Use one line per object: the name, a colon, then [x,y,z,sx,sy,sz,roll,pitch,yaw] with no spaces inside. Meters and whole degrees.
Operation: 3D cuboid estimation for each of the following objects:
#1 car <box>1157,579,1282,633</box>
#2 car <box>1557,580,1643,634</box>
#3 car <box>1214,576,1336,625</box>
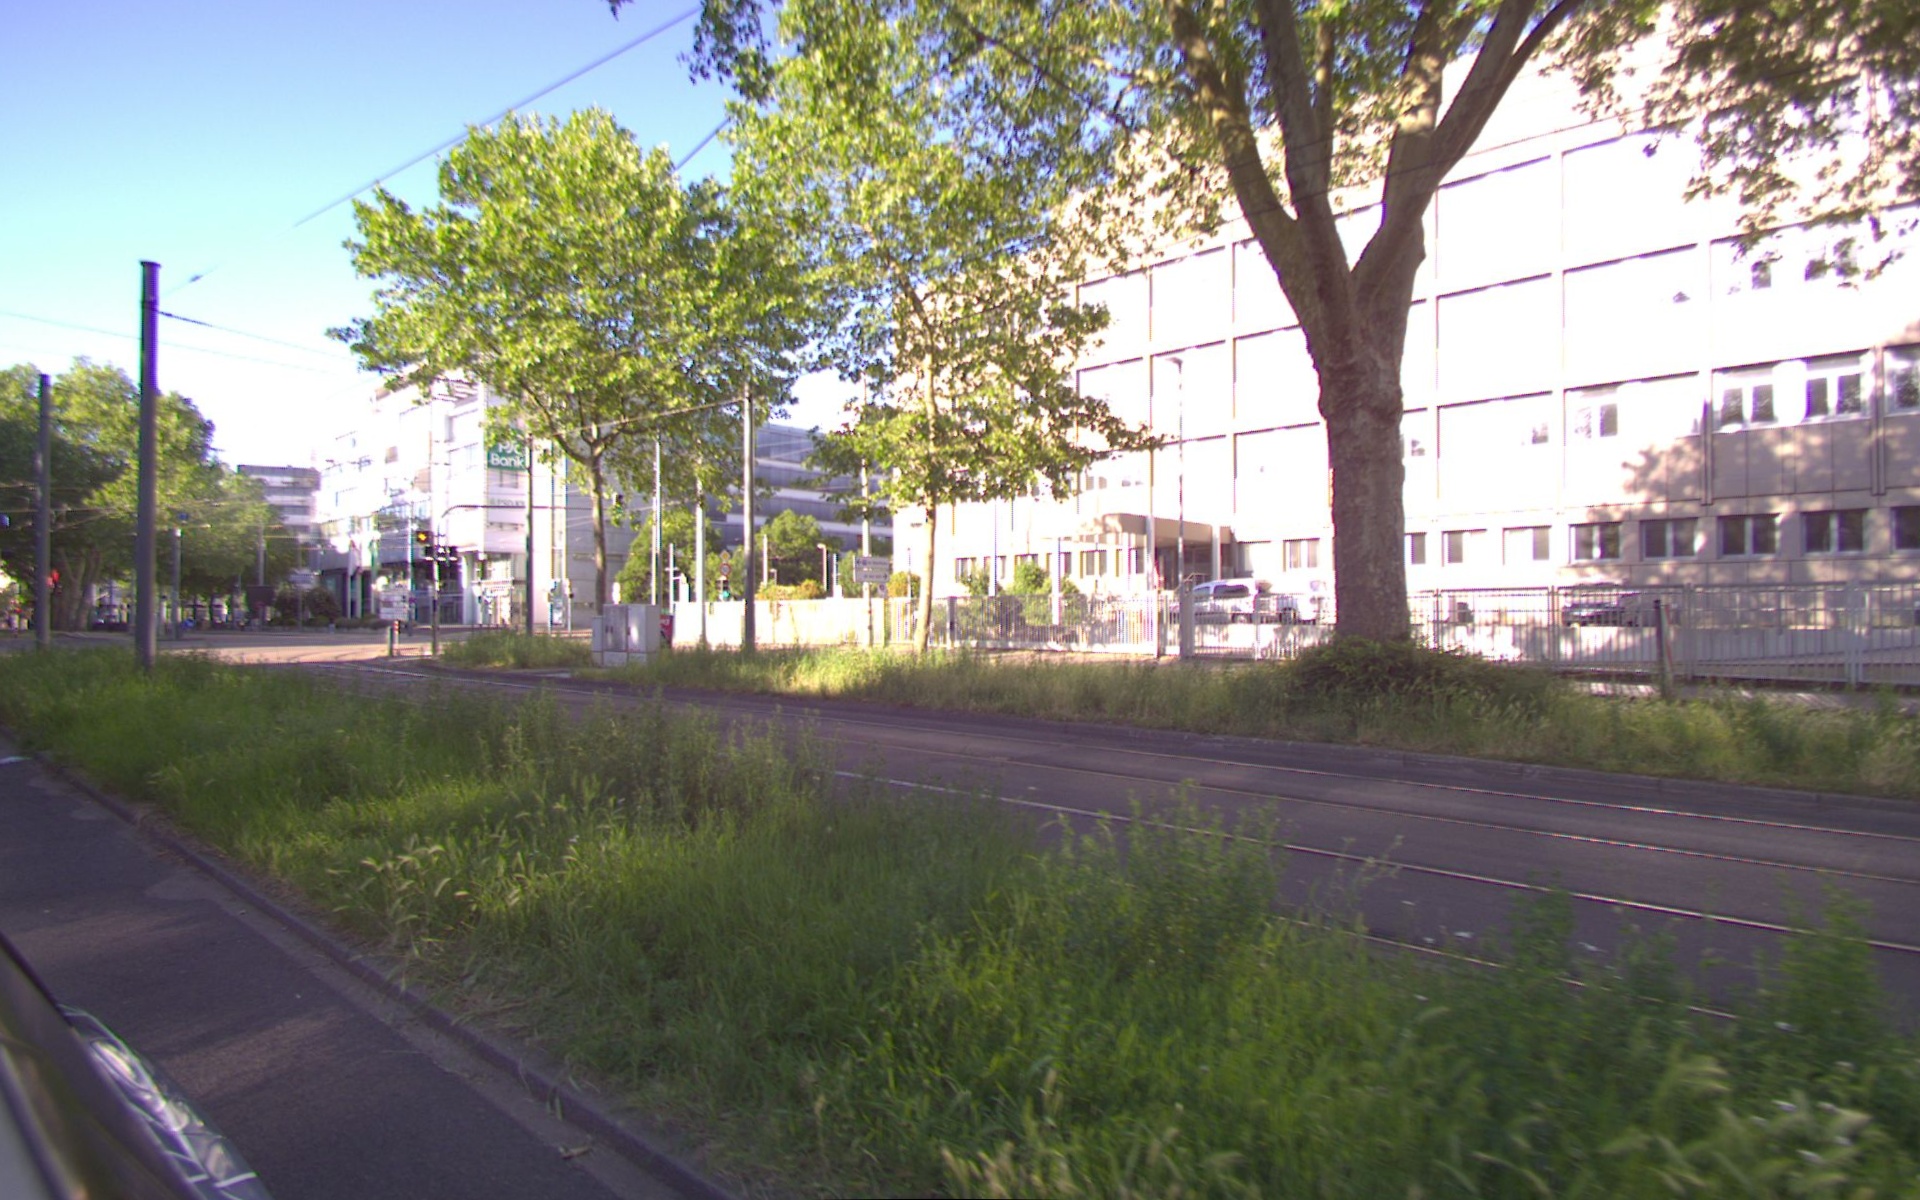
car: [9.322,0.209,36.487,3.999,1.831,1.828,-1,0,42]
car: [22.116,0.230,34.908,1.853,1.732,4.222,-1,0,41]
car: [11.856,0.042,38.201,3.999,1.765,1.828,-1,0,42]
